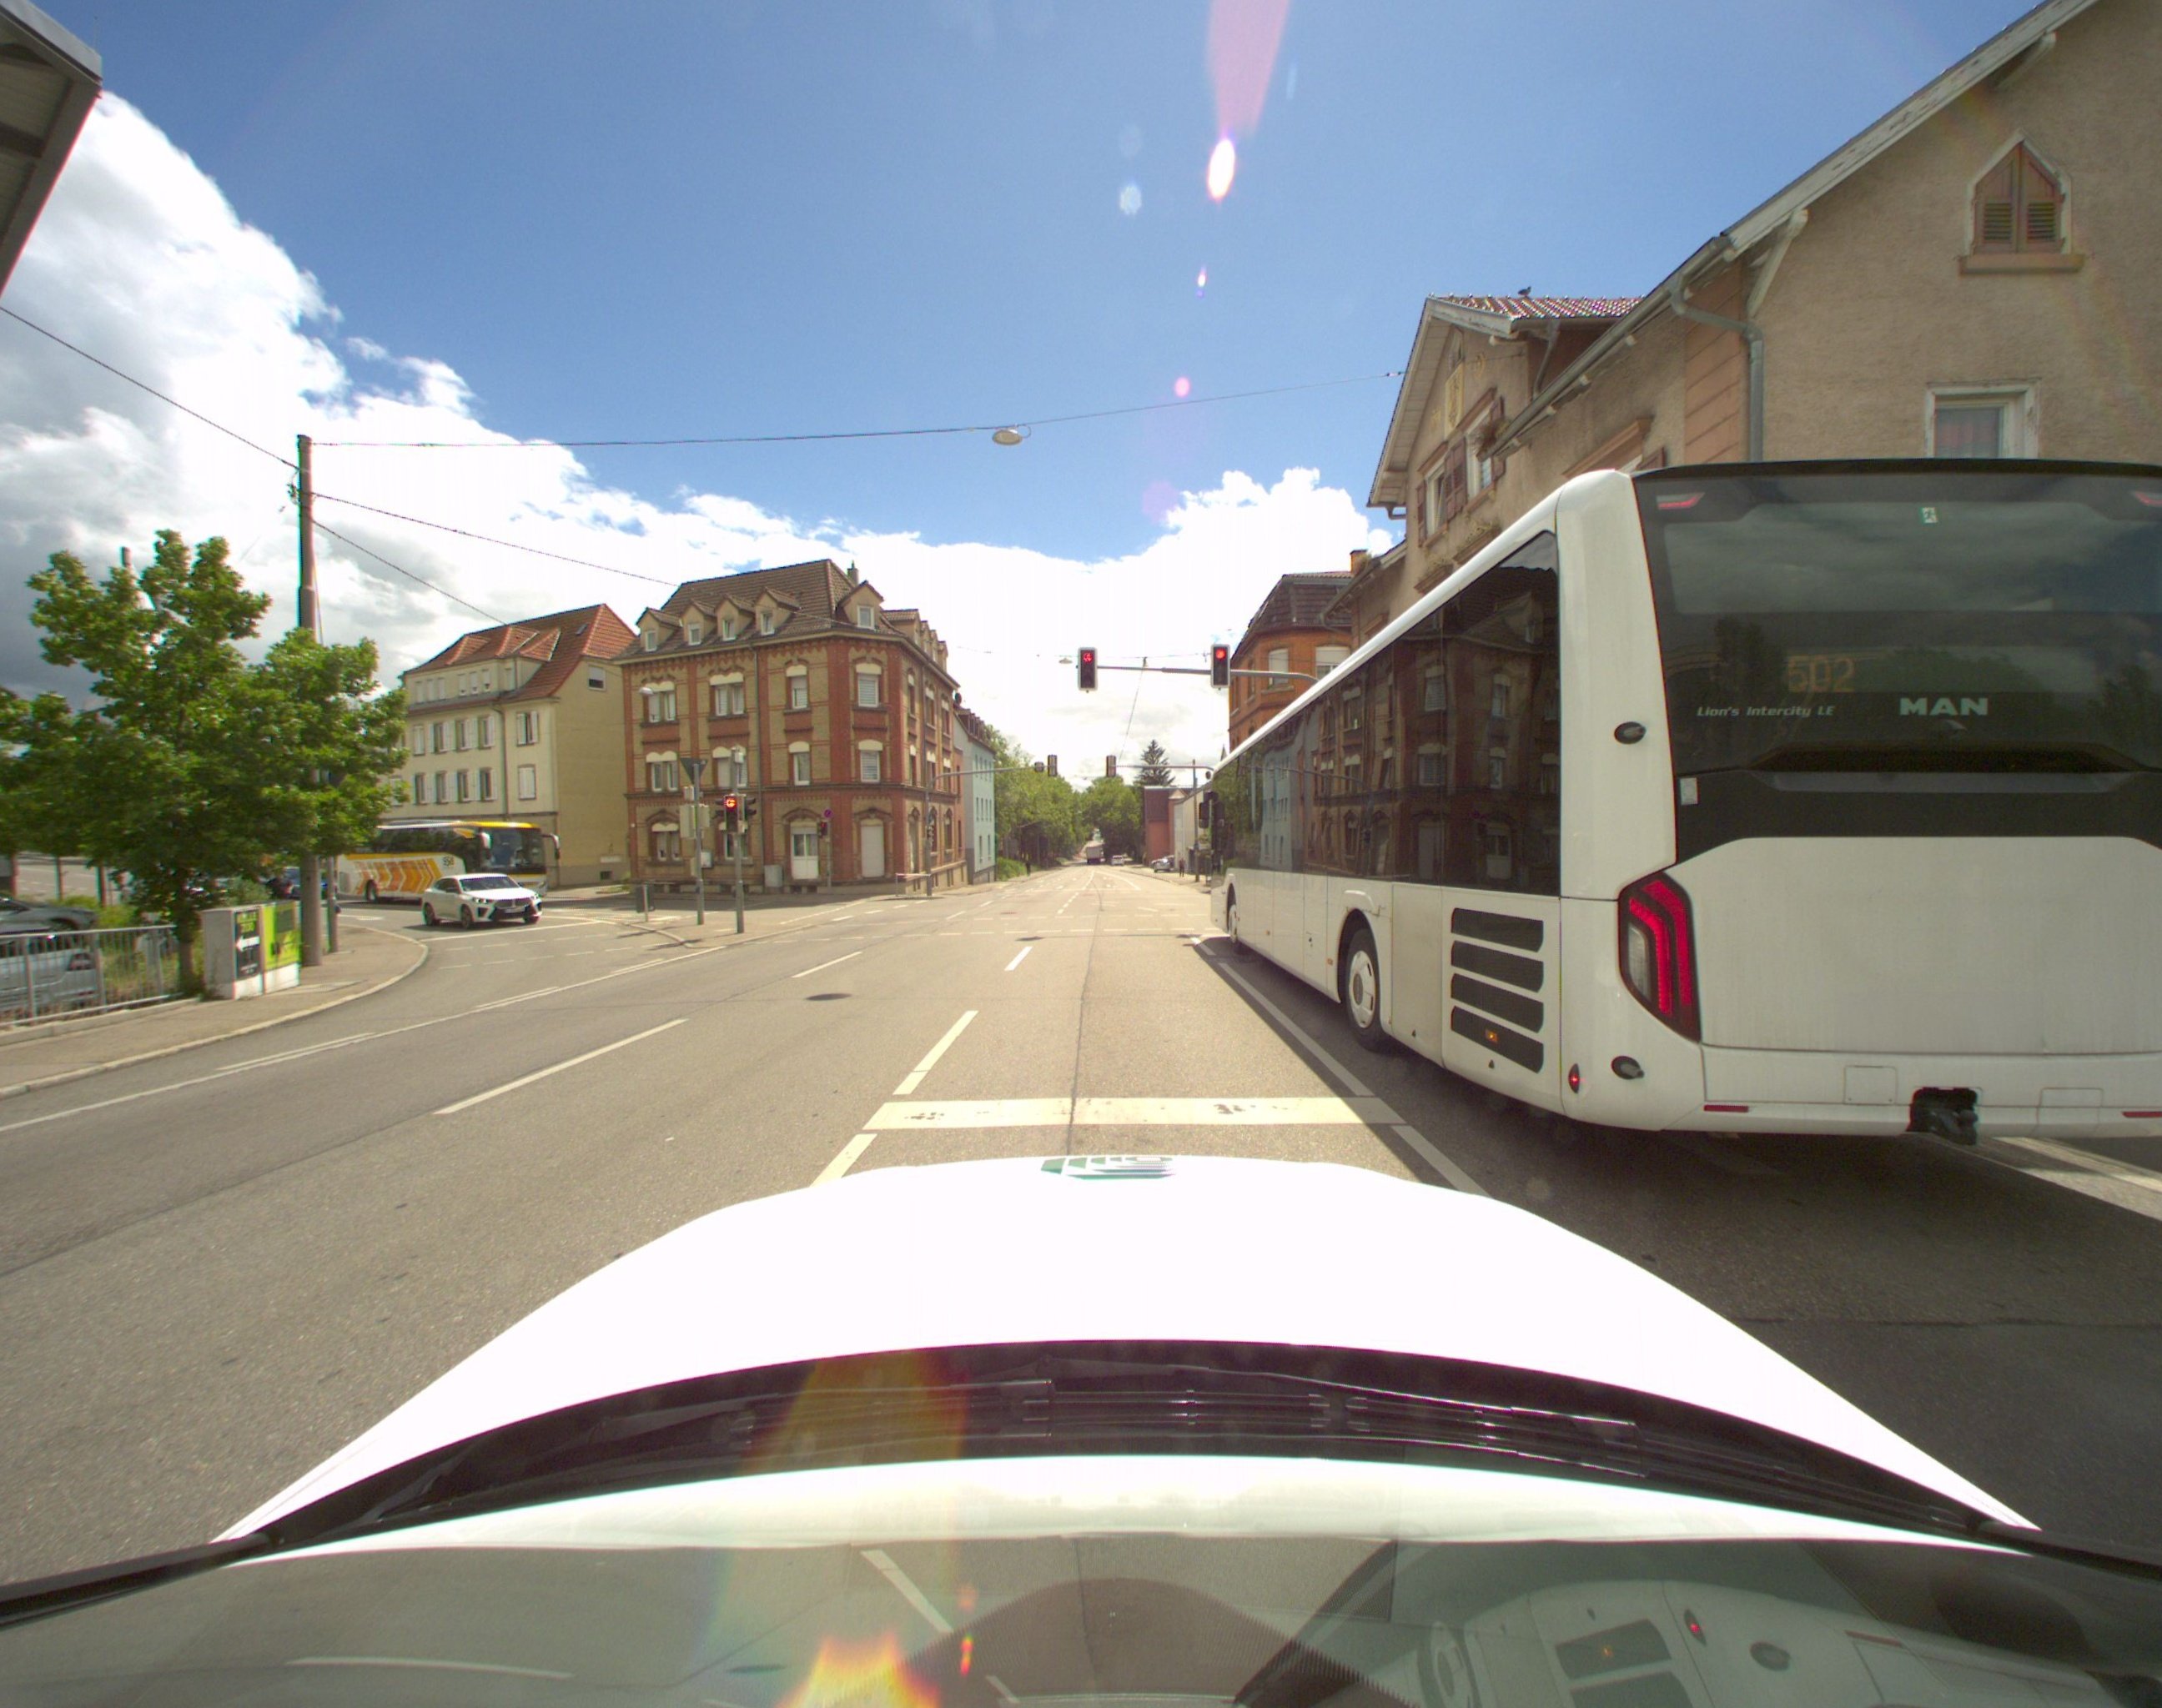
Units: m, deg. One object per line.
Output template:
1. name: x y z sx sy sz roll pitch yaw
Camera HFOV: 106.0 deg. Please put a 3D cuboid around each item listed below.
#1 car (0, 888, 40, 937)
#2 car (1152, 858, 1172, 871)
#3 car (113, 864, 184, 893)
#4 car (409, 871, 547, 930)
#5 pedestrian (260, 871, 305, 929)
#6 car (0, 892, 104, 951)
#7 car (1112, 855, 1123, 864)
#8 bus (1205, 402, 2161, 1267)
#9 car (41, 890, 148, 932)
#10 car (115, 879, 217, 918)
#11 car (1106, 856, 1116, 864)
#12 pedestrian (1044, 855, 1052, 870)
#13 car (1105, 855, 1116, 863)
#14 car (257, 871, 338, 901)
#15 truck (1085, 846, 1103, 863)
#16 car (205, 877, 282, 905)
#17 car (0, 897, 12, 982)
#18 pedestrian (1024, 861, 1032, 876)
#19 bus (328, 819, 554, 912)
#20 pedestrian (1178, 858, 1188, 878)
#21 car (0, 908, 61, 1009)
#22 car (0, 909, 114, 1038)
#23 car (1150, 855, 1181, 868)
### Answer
1. car: -36.273 1.934 25.625 1.785 1.553 4.023 -2 0 25
2. car: 9.229 1.168 93.013 1.788 1.409 4.000 -2 0 1
3. car: -54.072 1.417 47.240 3.949 1.554 1.923 -2 0 29
4. car: -18.582 1.434 25.050 4.250 1.552 1.845 -4 -1 30
5. pedestrian: -24.854 1.426 25.344 1.129 1.734 0.764 -2 -1 34
6. car: -29.514 1.874 22.167 1.777 1.477 3.522 -2 0 32
7. car: 5.793 0.936 129.357 1.787 1.409 4.002 -1 0 2
8. bus: 3.473 -0.079 9.210 2.662 3.155 12.467 0 0 2
9. car: -37.332 2.126 30.818 3.456 1.448 1.811 -2 0 26
10. car: -40.388 1.958 35.950 3.951 1.596 1.869 -2 0 25
11. car: 5.750 1.109 154.010 1.787 1.409 4.421 -1 0 3
12. pedestrian: -4.586 1.152 114.265 0.991 2.013 1.189 -2 0 1
13. car: 5.293 0.973 145.910 1.787 1.409 4.421 -1 0 3
14. car: -39.346 1.618 40.894 3.949 1.409 1.762 -2 0 28
15. truck: 2.339 0.095 150.534 2.917 3.081 7.883 -2 0 0
16. car: -45.756 2.024 44.502 3.949 1.409 1.923 -2 0 29
17. car: -23.427 1.756 16.473 3.455 1.680 1.663 -1 2 30
18. pedestrian: -5.574 1.481 85.929 0.727 1.565 0.561 -1 -1 0
19. bus: -28.175 0.403 35.612 12.111 3.621 2.788 0 0 26
20. pedestrian: 8.970 1.228 71.814 0.736 1.750 0.619 -2 0 1
21. car: -19.477 1.827 14.128 3.455 1.526 1.626 -1 2 29
22. car: -16.003 1.716 12.050 3.321 1.560 1.692 0 2 32
23. car: 11.777 1.035 113.068 3.978 1.757 1.998 -2 0 -3
